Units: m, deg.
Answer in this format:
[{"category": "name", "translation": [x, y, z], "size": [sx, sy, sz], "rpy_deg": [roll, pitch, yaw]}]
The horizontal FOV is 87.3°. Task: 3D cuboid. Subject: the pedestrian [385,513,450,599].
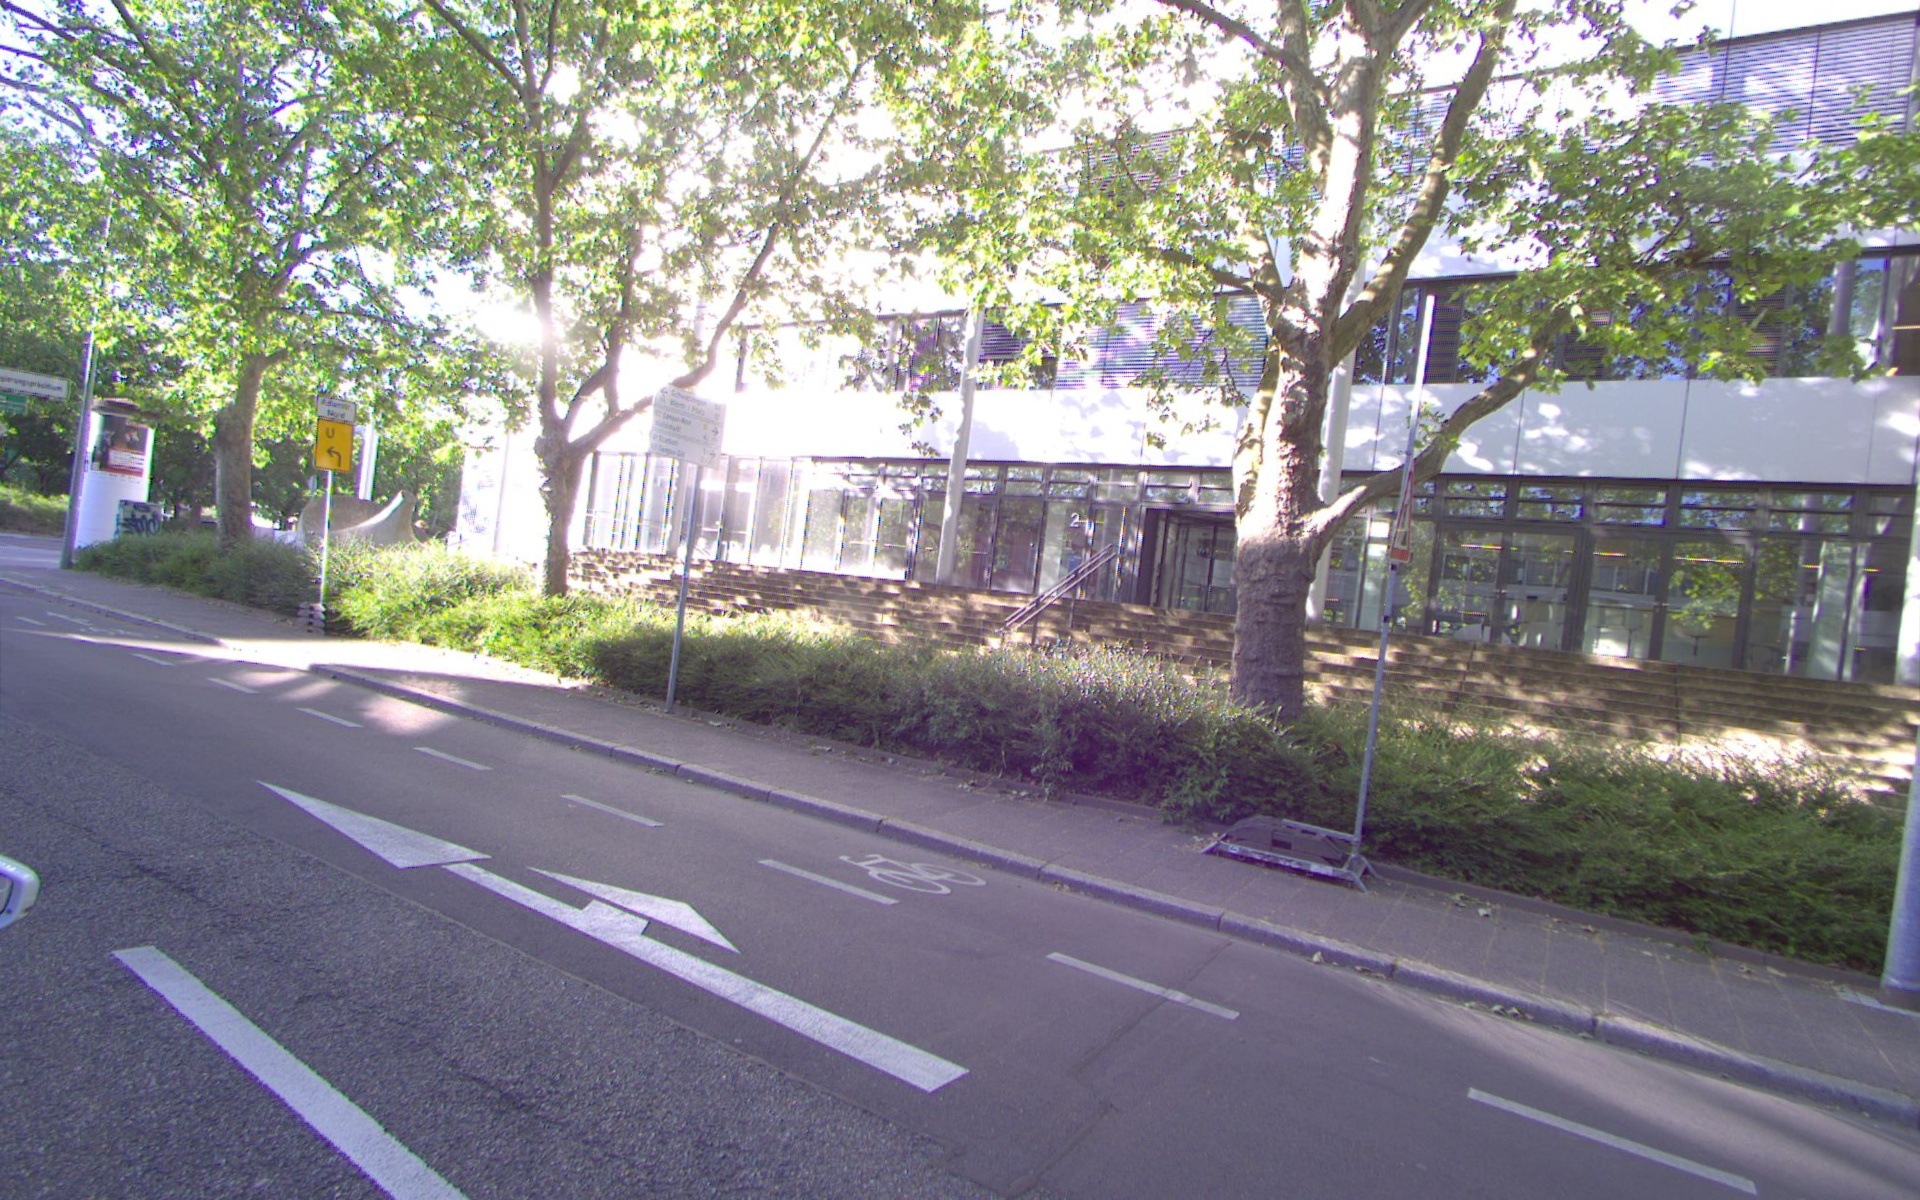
[{"category": "pedestrian", "translation": [-12.376, -0.995, 22.955], "size": [0.848, 1.802, 0.785], "rpy_deg": [7, 0, 30]}]
